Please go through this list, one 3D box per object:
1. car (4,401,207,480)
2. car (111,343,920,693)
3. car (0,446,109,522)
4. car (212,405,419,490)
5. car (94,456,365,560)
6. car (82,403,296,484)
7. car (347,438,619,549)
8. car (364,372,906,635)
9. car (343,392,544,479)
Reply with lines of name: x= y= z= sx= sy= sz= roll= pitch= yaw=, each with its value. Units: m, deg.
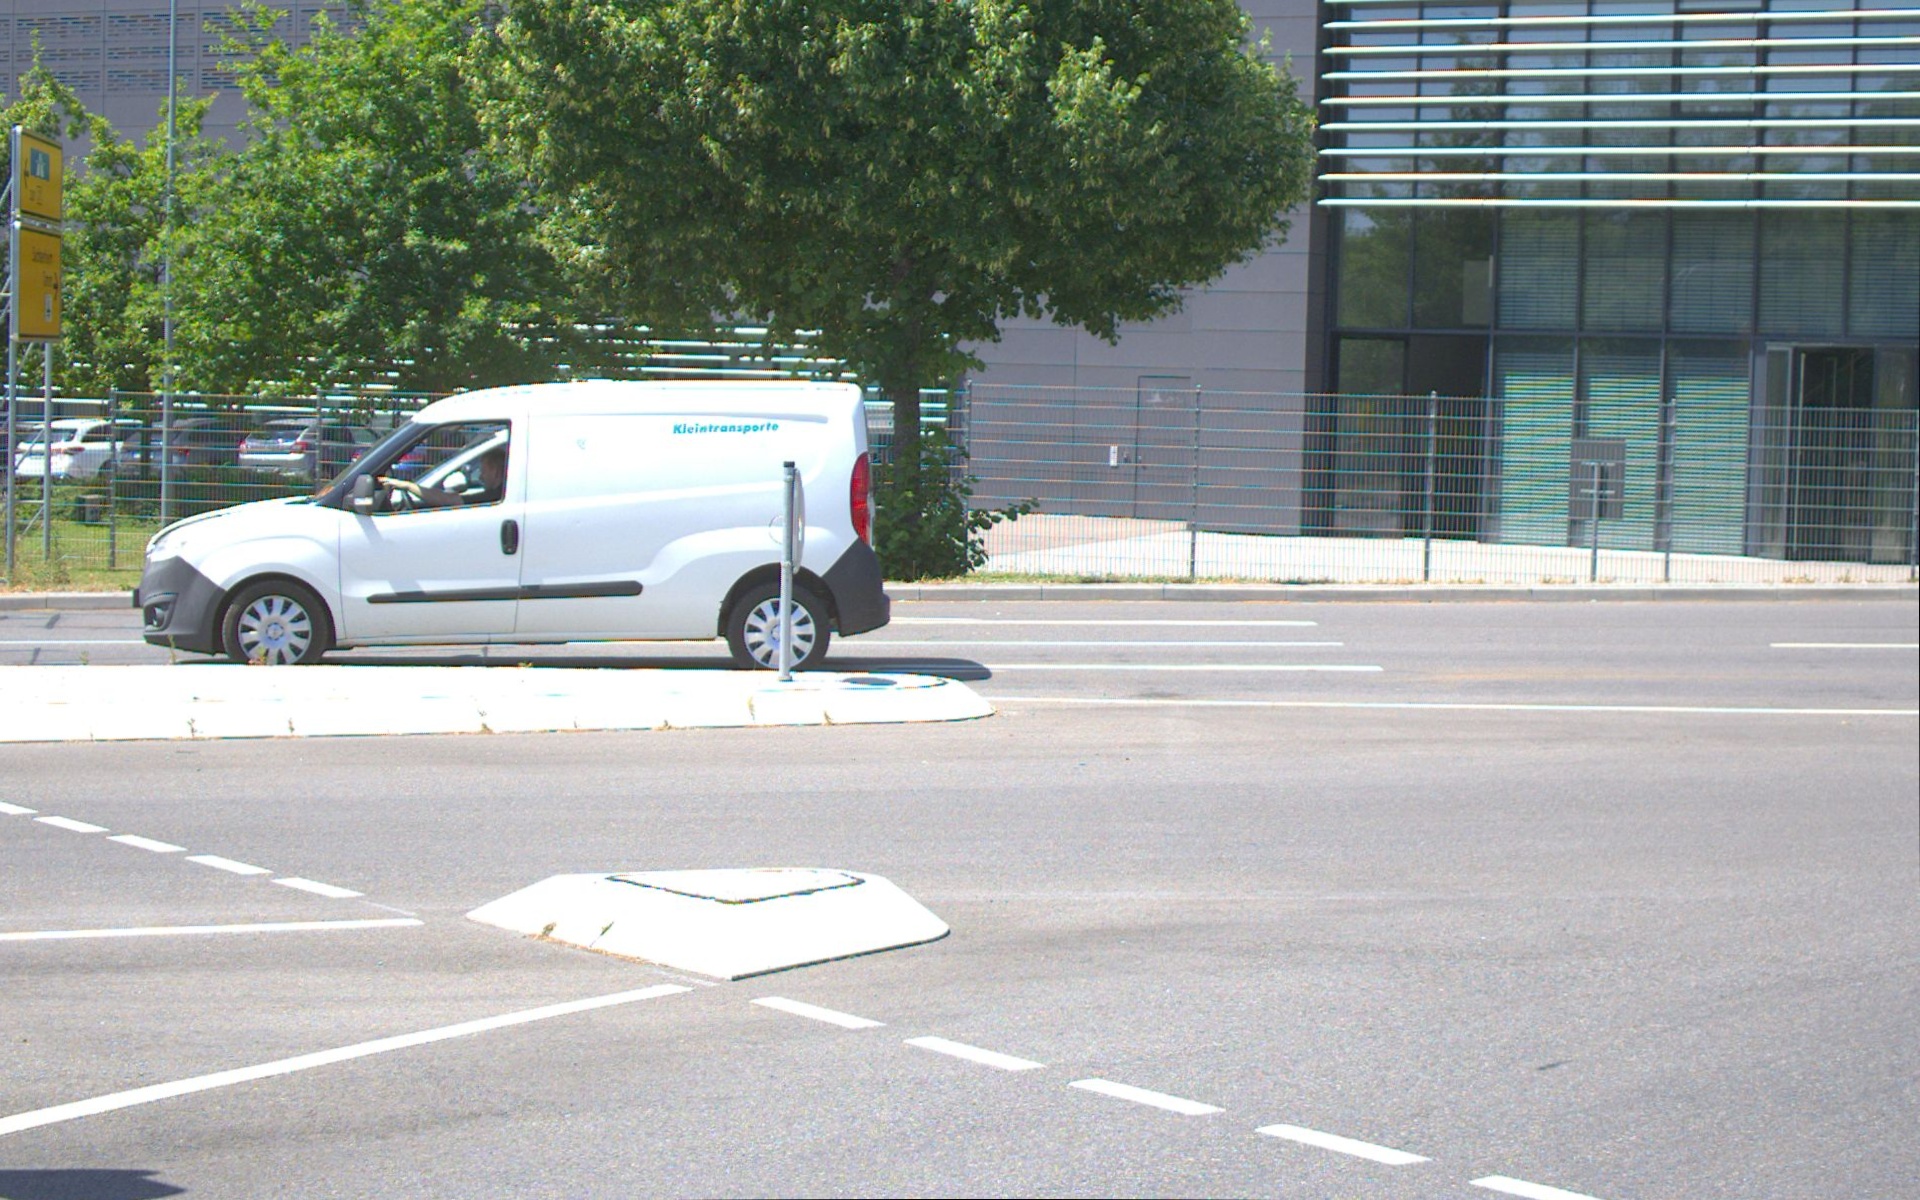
car: x=-16.696 y=-3.106 z=67.337 sx=1.768 sy=1.455 sz=3.995 roll=0 pitch=2 yaw=24
car: x=-2.787 y=-0.554 z=21.911 sx=4.854 sy=1.935 sz=2.001 roll=1 pitch=7 yaw=-6
car: x=-19.094 y=-2.313 z=68.718 sx=1.996 sy=1.481 sz=3.995 roll=0 pitch=2 yaw=24
car: x=-12.155 y=-2.892 z=65.093 sx=1.916 sy=1.511 sz=3.996 roll=0 pitch=3 yaw=24
car: x=-10.900 y=-1.393 z=51.560 sx=1.996 sy=1.481 sz=3.995 roll=0 pitch=2 yaw=24
car: x=-14.747 y=-2.983 z=65.969 sx=1.996 sy=1.481 sz=3.995 roll=0 pitch=2 yaw=24
car: x=-6.695 y=-1.509 z=48.668 sx=1.996 sy=1.481 sz=3.995 roll=0 pitch=2 yaw=24
car: x=-2.428 y=-0.750 z=25.748 sx=3.851 sy=1.700 sz=2.001 roll=1 pitch=7 yaw=-6
car: x=-9.549 y=-3.037 z=63.832 sx=1.816 sy=1.523 sz=3.995 roll=0 pitch=2 yaw=24
